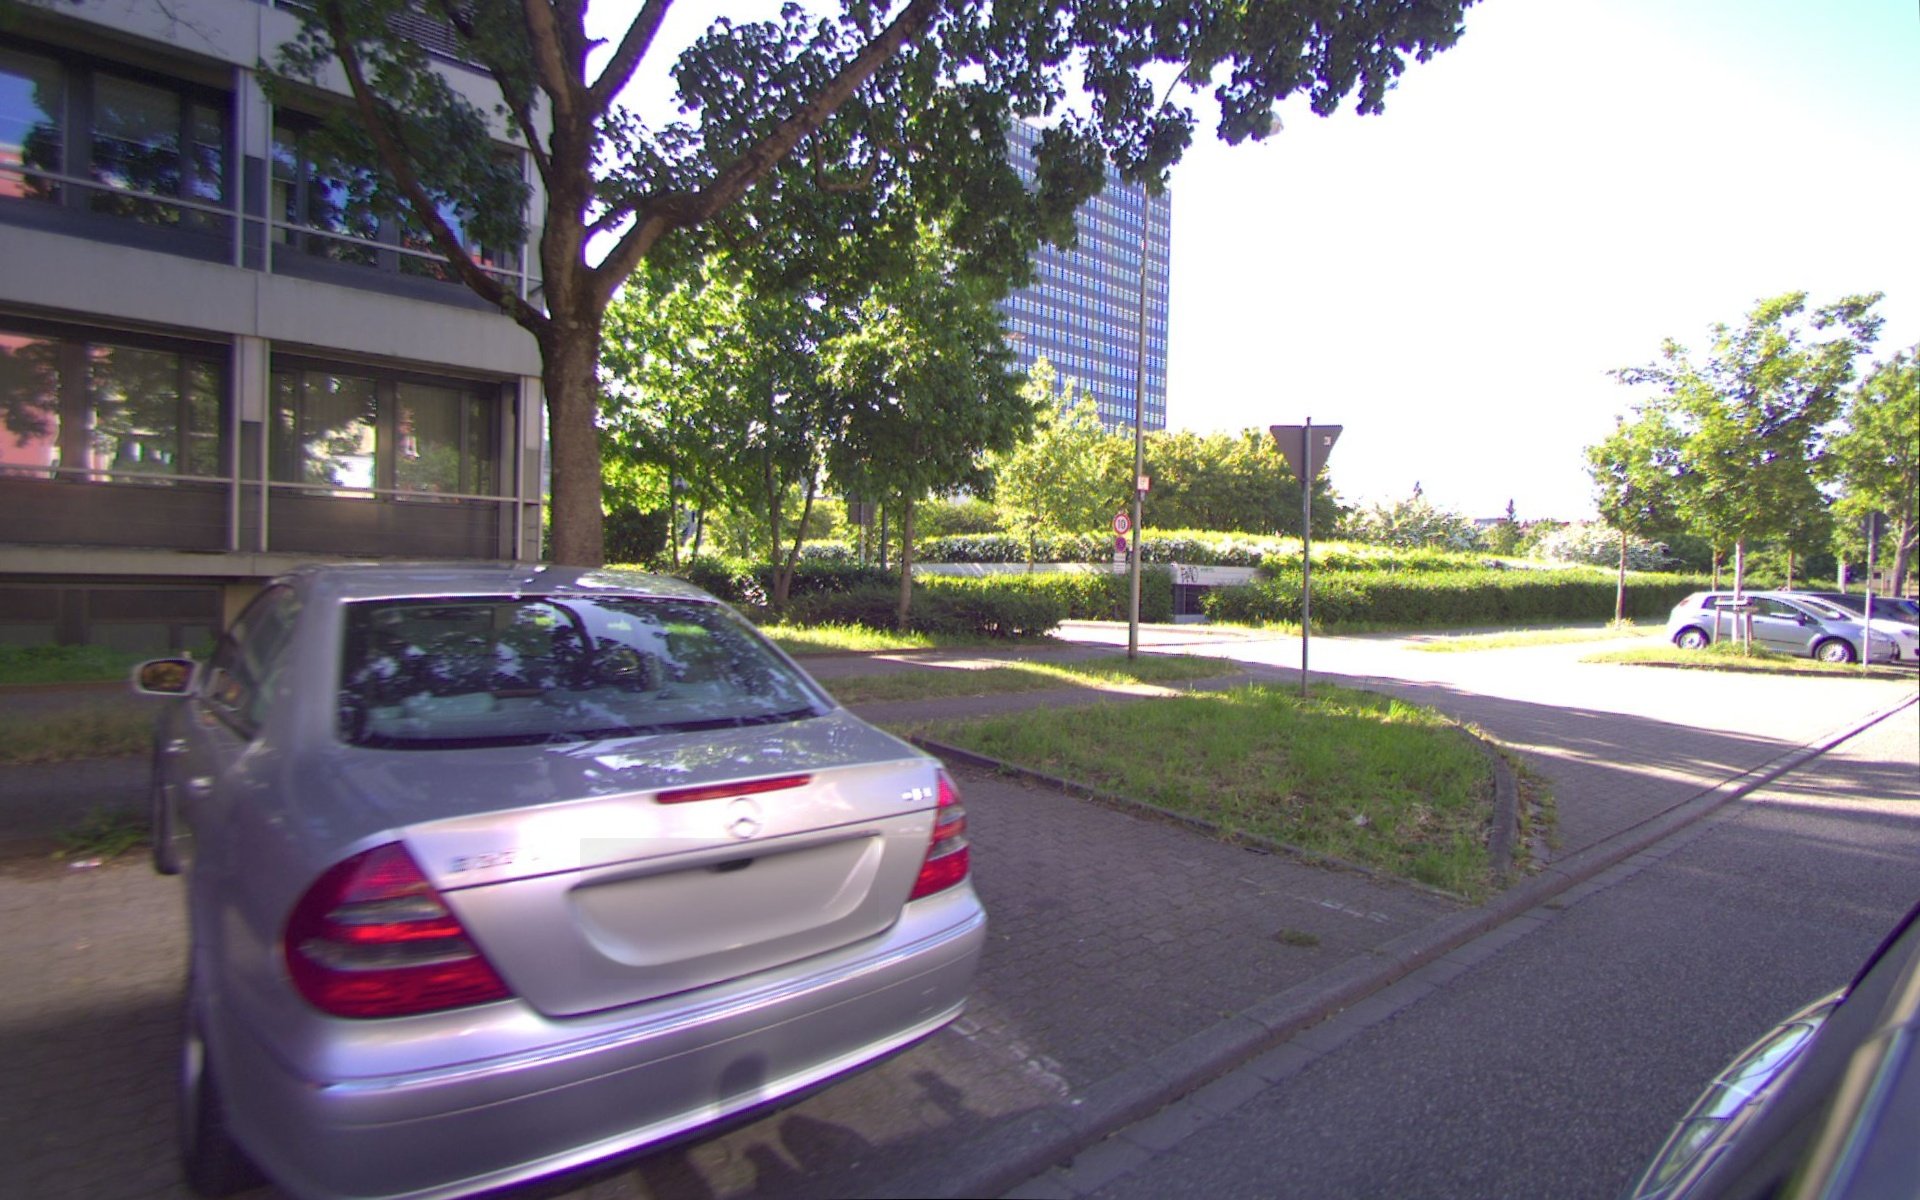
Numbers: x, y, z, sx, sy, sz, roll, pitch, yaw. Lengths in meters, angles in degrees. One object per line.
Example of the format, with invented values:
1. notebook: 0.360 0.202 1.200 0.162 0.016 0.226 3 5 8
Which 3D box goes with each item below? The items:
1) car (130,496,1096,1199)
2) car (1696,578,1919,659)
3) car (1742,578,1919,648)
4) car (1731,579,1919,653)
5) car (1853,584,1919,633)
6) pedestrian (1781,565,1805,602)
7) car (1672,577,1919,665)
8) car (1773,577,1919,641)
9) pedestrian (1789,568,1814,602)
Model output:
1. car: -1.817 0.521 3.626 1.716 1.493 4.588 0 2 -40
2. car: 20.463 0.373 23.907 1.946 1.533 4.565 0 4 -37
3. car: 24.095 0.321 27.109 2.120 1.533 4.562 -1 5 -40
4. car: 22.125 0.344 25.558 1.720 1.533 3.886 -1 5 -40
5. car: 32.233 0.387 33.162 1.611 1.446 4.108 0 6 -33
6. pedestrian: 36.169 -0.704 43.926 0.920 1.561 0.608 0 2 -39
7. car: 18.282 0.366 22.228 1.671 1.533 3.959 -1 5 -39
8. car: 26.002 0.236 29.013 1.713 1.465 3.818 0 6 -38
9. pedestrian: 40.911 -0.718 49.216 0.837 1.607 0.725 0 2 -39
